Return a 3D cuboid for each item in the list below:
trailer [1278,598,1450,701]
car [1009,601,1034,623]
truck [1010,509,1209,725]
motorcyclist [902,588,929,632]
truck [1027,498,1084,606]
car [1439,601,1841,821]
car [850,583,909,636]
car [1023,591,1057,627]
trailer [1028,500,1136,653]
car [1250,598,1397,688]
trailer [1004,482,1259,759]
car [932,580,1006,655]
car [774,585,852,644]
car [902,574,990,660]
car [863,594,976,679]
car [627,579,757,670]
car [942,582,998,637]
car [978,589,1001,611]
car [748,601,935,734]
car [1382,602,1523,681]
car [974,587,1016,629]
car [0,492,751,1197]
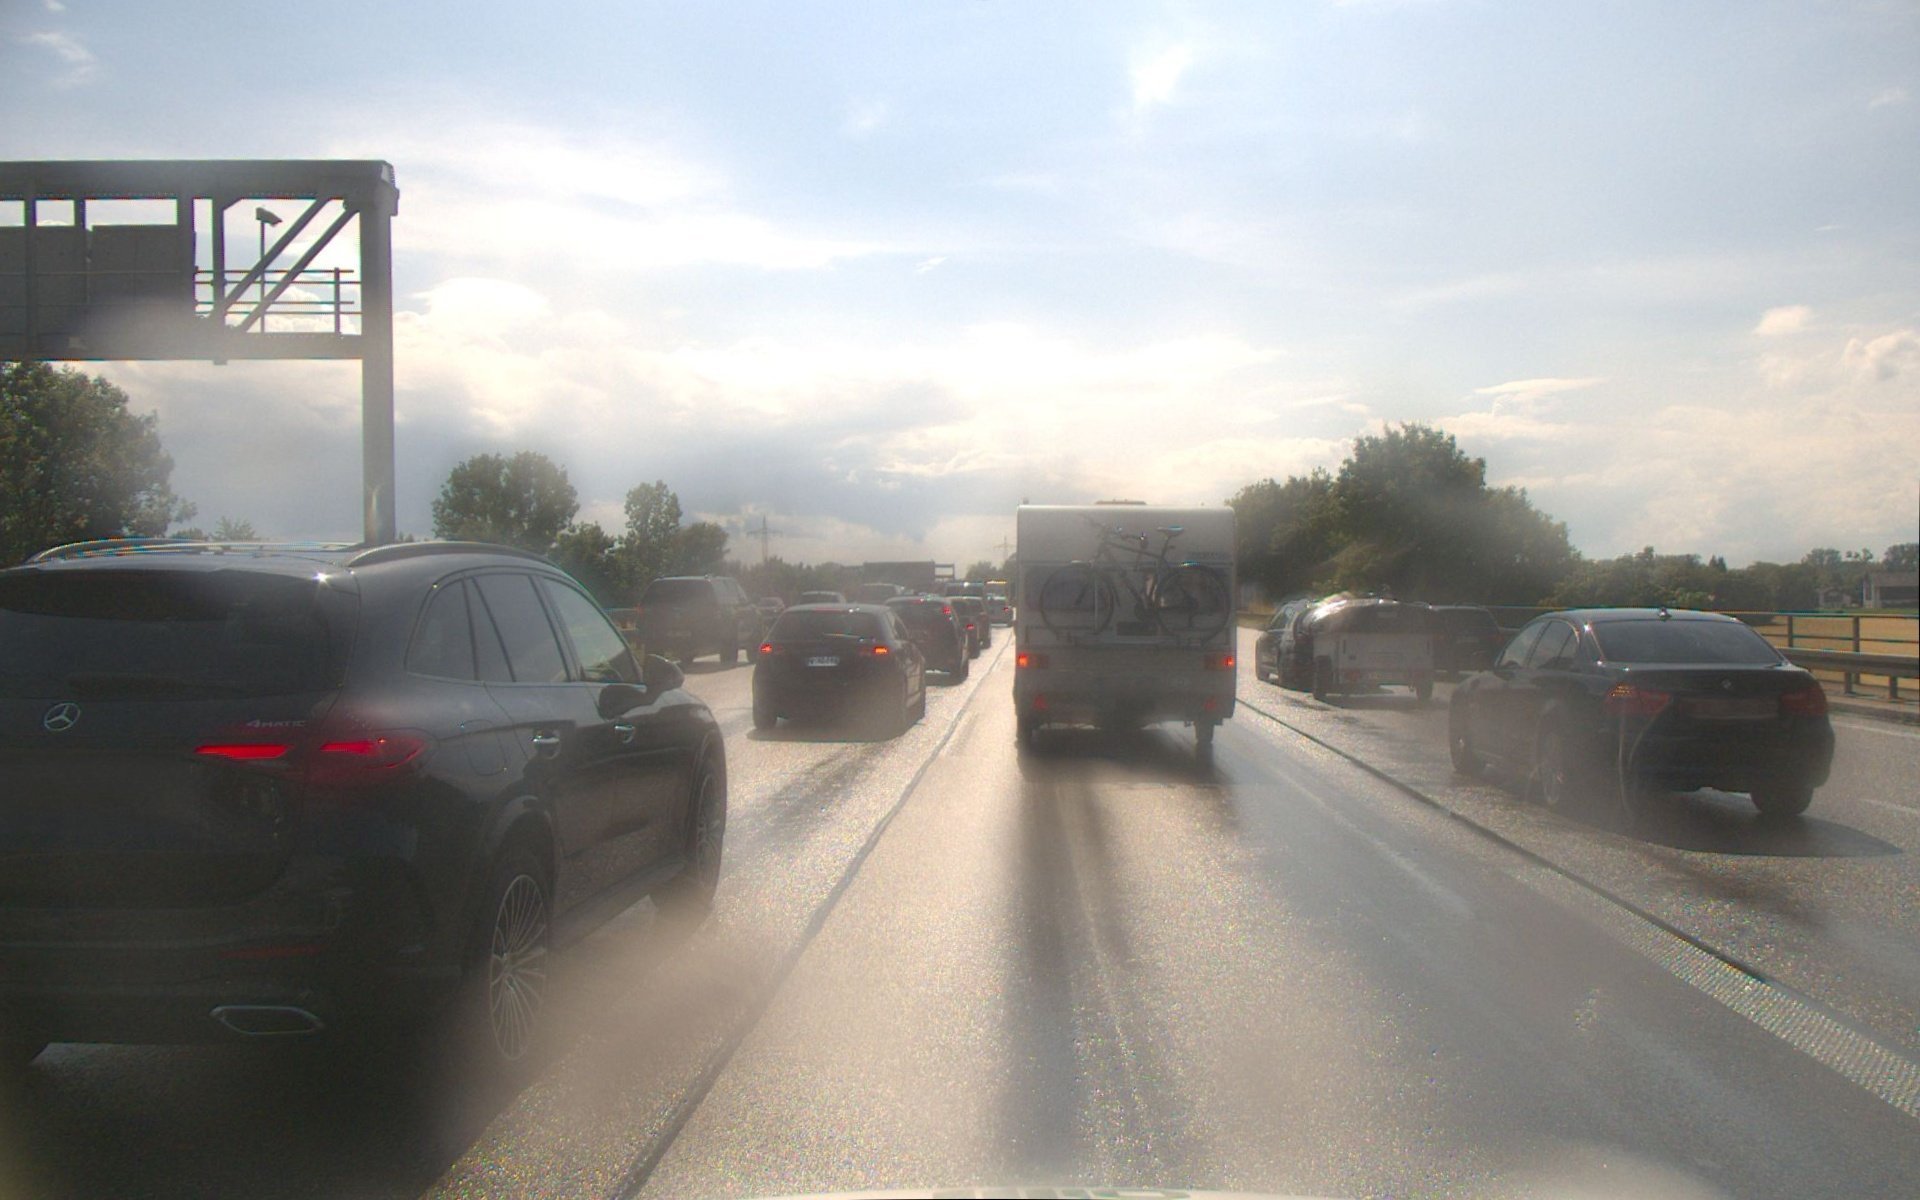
[{"bbox_3d":[6.181,0.702,25.759,1.816,1.467,4.149,0,0,2],"label":"trailer"},{"bbox_3d":[4.994,0.980,135.513,1.838,1.791,4.000,1,0,0],"label":"car"},{"bbox_3d":[1.886,0.201,22.461,2.325,2.520,5.757,1,0,2],"label":"truck"},{"bbox_3d":[-1.786,0.394,66.515,1.041,1.748,0.785,0,0,3],"label":"motorcyclist"},{"bbox_3d":[4.544,-2.207,79.724,2.450,4.914,7.544,1,0,1],"label":"truck"},{"bbox_3d":[5.074,0.740,12.918,1.704,1.445,3.837,0,0,2],"label":"car"},{"bbox_3d":[-3.352,0.382,69.607,1.952,2.048,4.002,4,0,3],"label":"car"},{"bbox_3d":[4.988,0.518,102.420,1.952,2.048,4.002,4,0,3],"label":"car"},{"bbox_3d":[3.743,-0.655,50.419,2.943,4.239,8.540,1,0,5],"label":"trailer"},{"bbox_3d":[6.321,0.700,29.175,1.816,1.467,4.259,0,0,2],"label":"car"},{"bbox_3d":[1.724,0.194,18.596,2.325,2.526,6.525,1,0,2],"label":"trailer"},{"bbox_3d":[0.315,0.510,50.491,1.952,2.048,4.002,4,0,3],"label":"car"},{"bbox_3d":[-4.800,0.466,54.415,1.952,1.803,4.002,1,0,3],"label":"car"},{"bbox_3d":[-0.311,0.401,41.915,1.952,2.049,4.002,1,0,3],"label":"car"},{"bbox_3d":[-0.683,0.635,30.351,1.768,1.432,4.001,1,0,3],"label":"car"},{"bbox_3d":[-5.480,0.486,34.324,1.952,1.750,4.000,1,0,1],"label":"car"},{"bbox_3d":[0.417,0.355,64.150,1.952,2.049,4.002,0,0,3],"label":"car"},{"bbox_3d":[2.462,-0.018,137.785,1.838,1.791,4.000,1,0,0],"label":"car"},{"bbox_3d":[-1.303,0.721,19.715,1.720,1.411,3.947,0,0,3],"label":"car"},{"bbox_3d":[9.636,0.774,32.697,1.734,1.426,4.291,0,0,3],"label":"car"},{"bbox_3d":[1.774,0.391,82.203,1.952,2.049,4.002,1,0,3],"label":"car"},{"bbox_3d":[-2.163,0.590,6.225,1.952,1.690,4.407,0,0,3],"label":"car"}]
